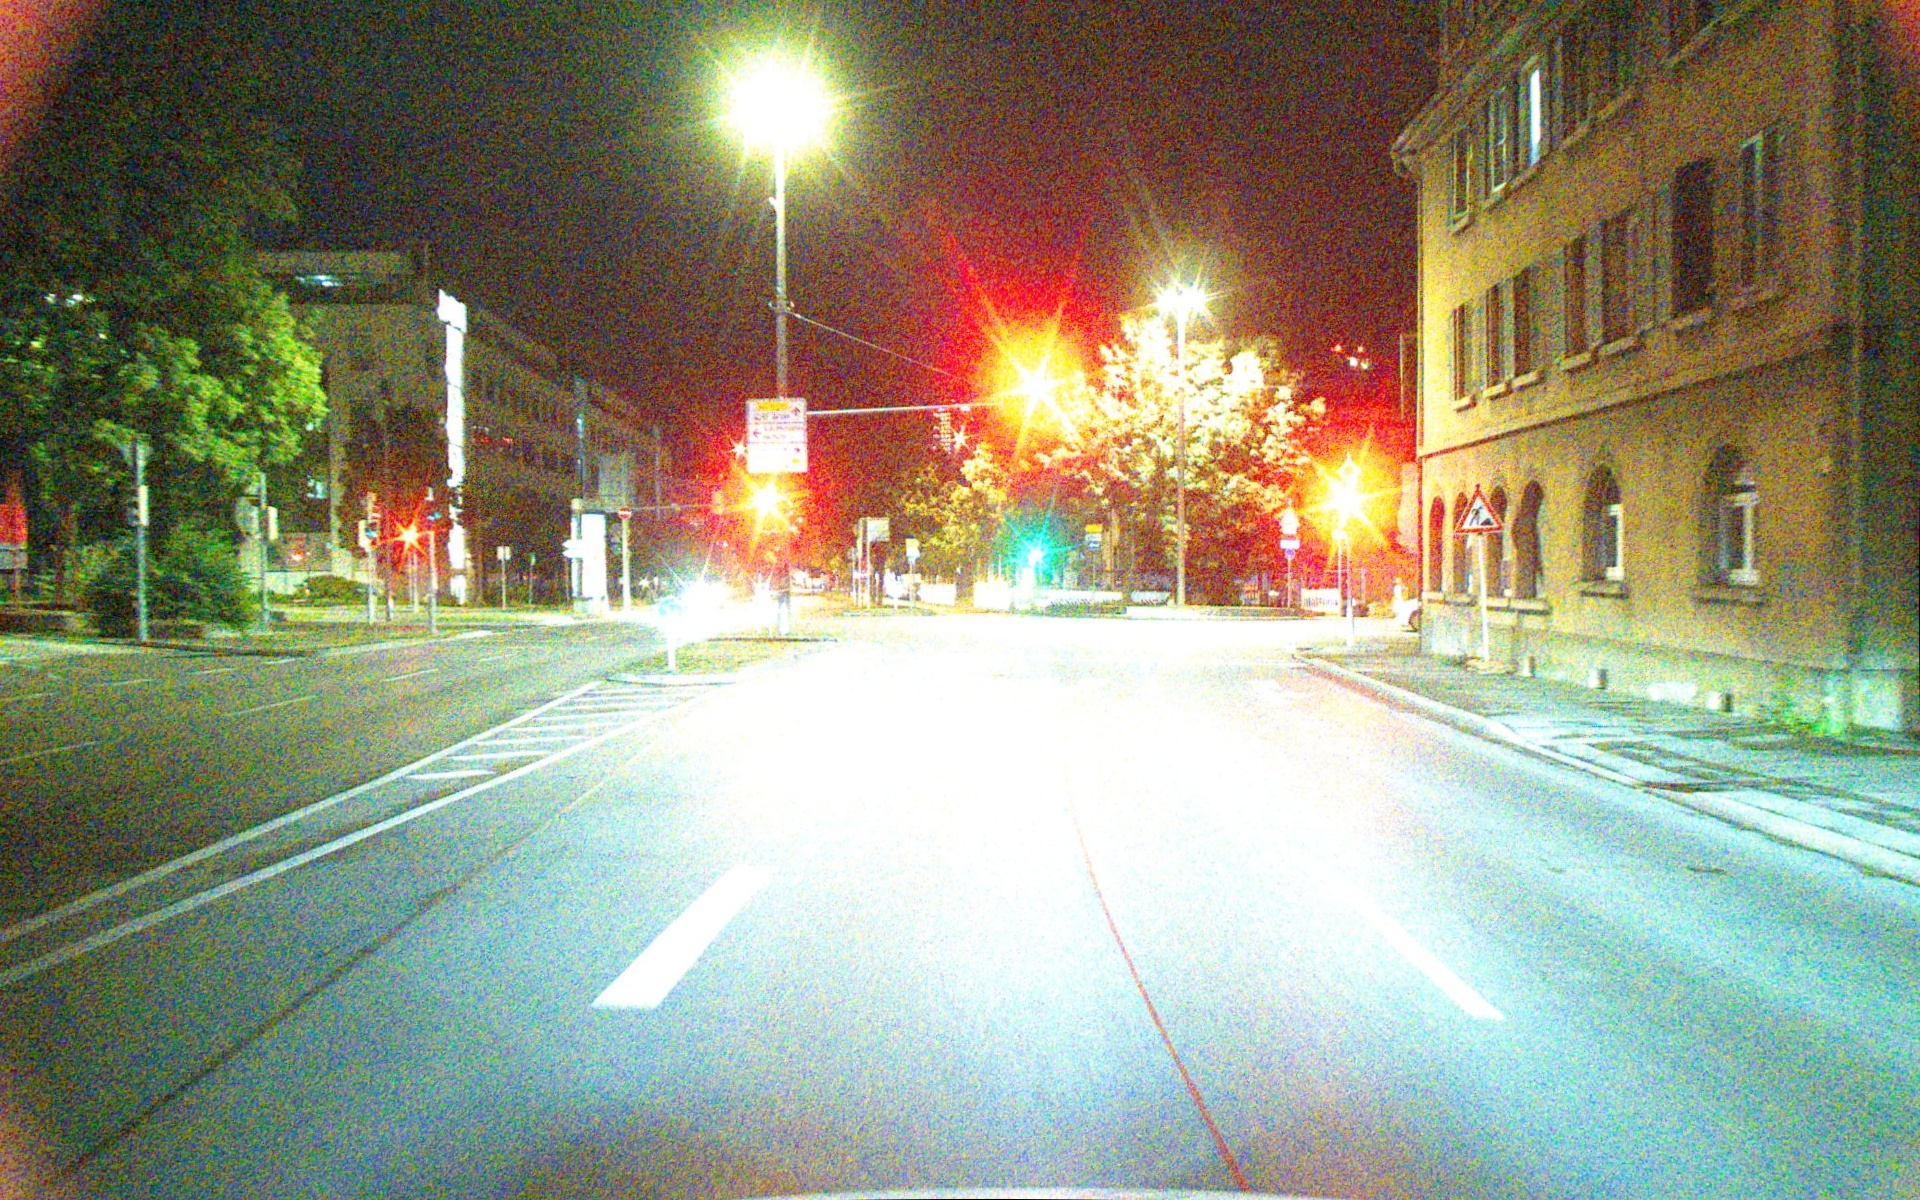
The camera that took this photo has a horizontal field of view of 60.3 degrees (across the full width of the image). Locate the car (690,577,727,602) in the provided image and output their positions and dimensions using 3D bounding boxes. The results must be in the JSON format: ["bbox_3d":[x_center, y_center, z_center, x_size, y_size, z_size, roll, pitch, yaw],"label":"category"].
[{"bbox_3d":[-14.141,-0.585,93.158,1.723,1.345,3.545,0,0,-3],"label":"car"}]

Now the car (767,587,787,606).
[{"bbox_3d":[-17.624,-0.316,159.496,1.723,1.758,3.545,0,0,-3],"label":"car"}]

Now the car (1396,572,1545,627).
[{"bbox_3d":[14.667,-0.018,47.541,3.909,1.517,1.707,0,0,26],"label":"car"}]

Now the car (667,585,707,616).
[{"bbox_3d":[-14.039,0.033,85.163,1.583,1.541,3.998,0,0,-3],"label":"car"}]
